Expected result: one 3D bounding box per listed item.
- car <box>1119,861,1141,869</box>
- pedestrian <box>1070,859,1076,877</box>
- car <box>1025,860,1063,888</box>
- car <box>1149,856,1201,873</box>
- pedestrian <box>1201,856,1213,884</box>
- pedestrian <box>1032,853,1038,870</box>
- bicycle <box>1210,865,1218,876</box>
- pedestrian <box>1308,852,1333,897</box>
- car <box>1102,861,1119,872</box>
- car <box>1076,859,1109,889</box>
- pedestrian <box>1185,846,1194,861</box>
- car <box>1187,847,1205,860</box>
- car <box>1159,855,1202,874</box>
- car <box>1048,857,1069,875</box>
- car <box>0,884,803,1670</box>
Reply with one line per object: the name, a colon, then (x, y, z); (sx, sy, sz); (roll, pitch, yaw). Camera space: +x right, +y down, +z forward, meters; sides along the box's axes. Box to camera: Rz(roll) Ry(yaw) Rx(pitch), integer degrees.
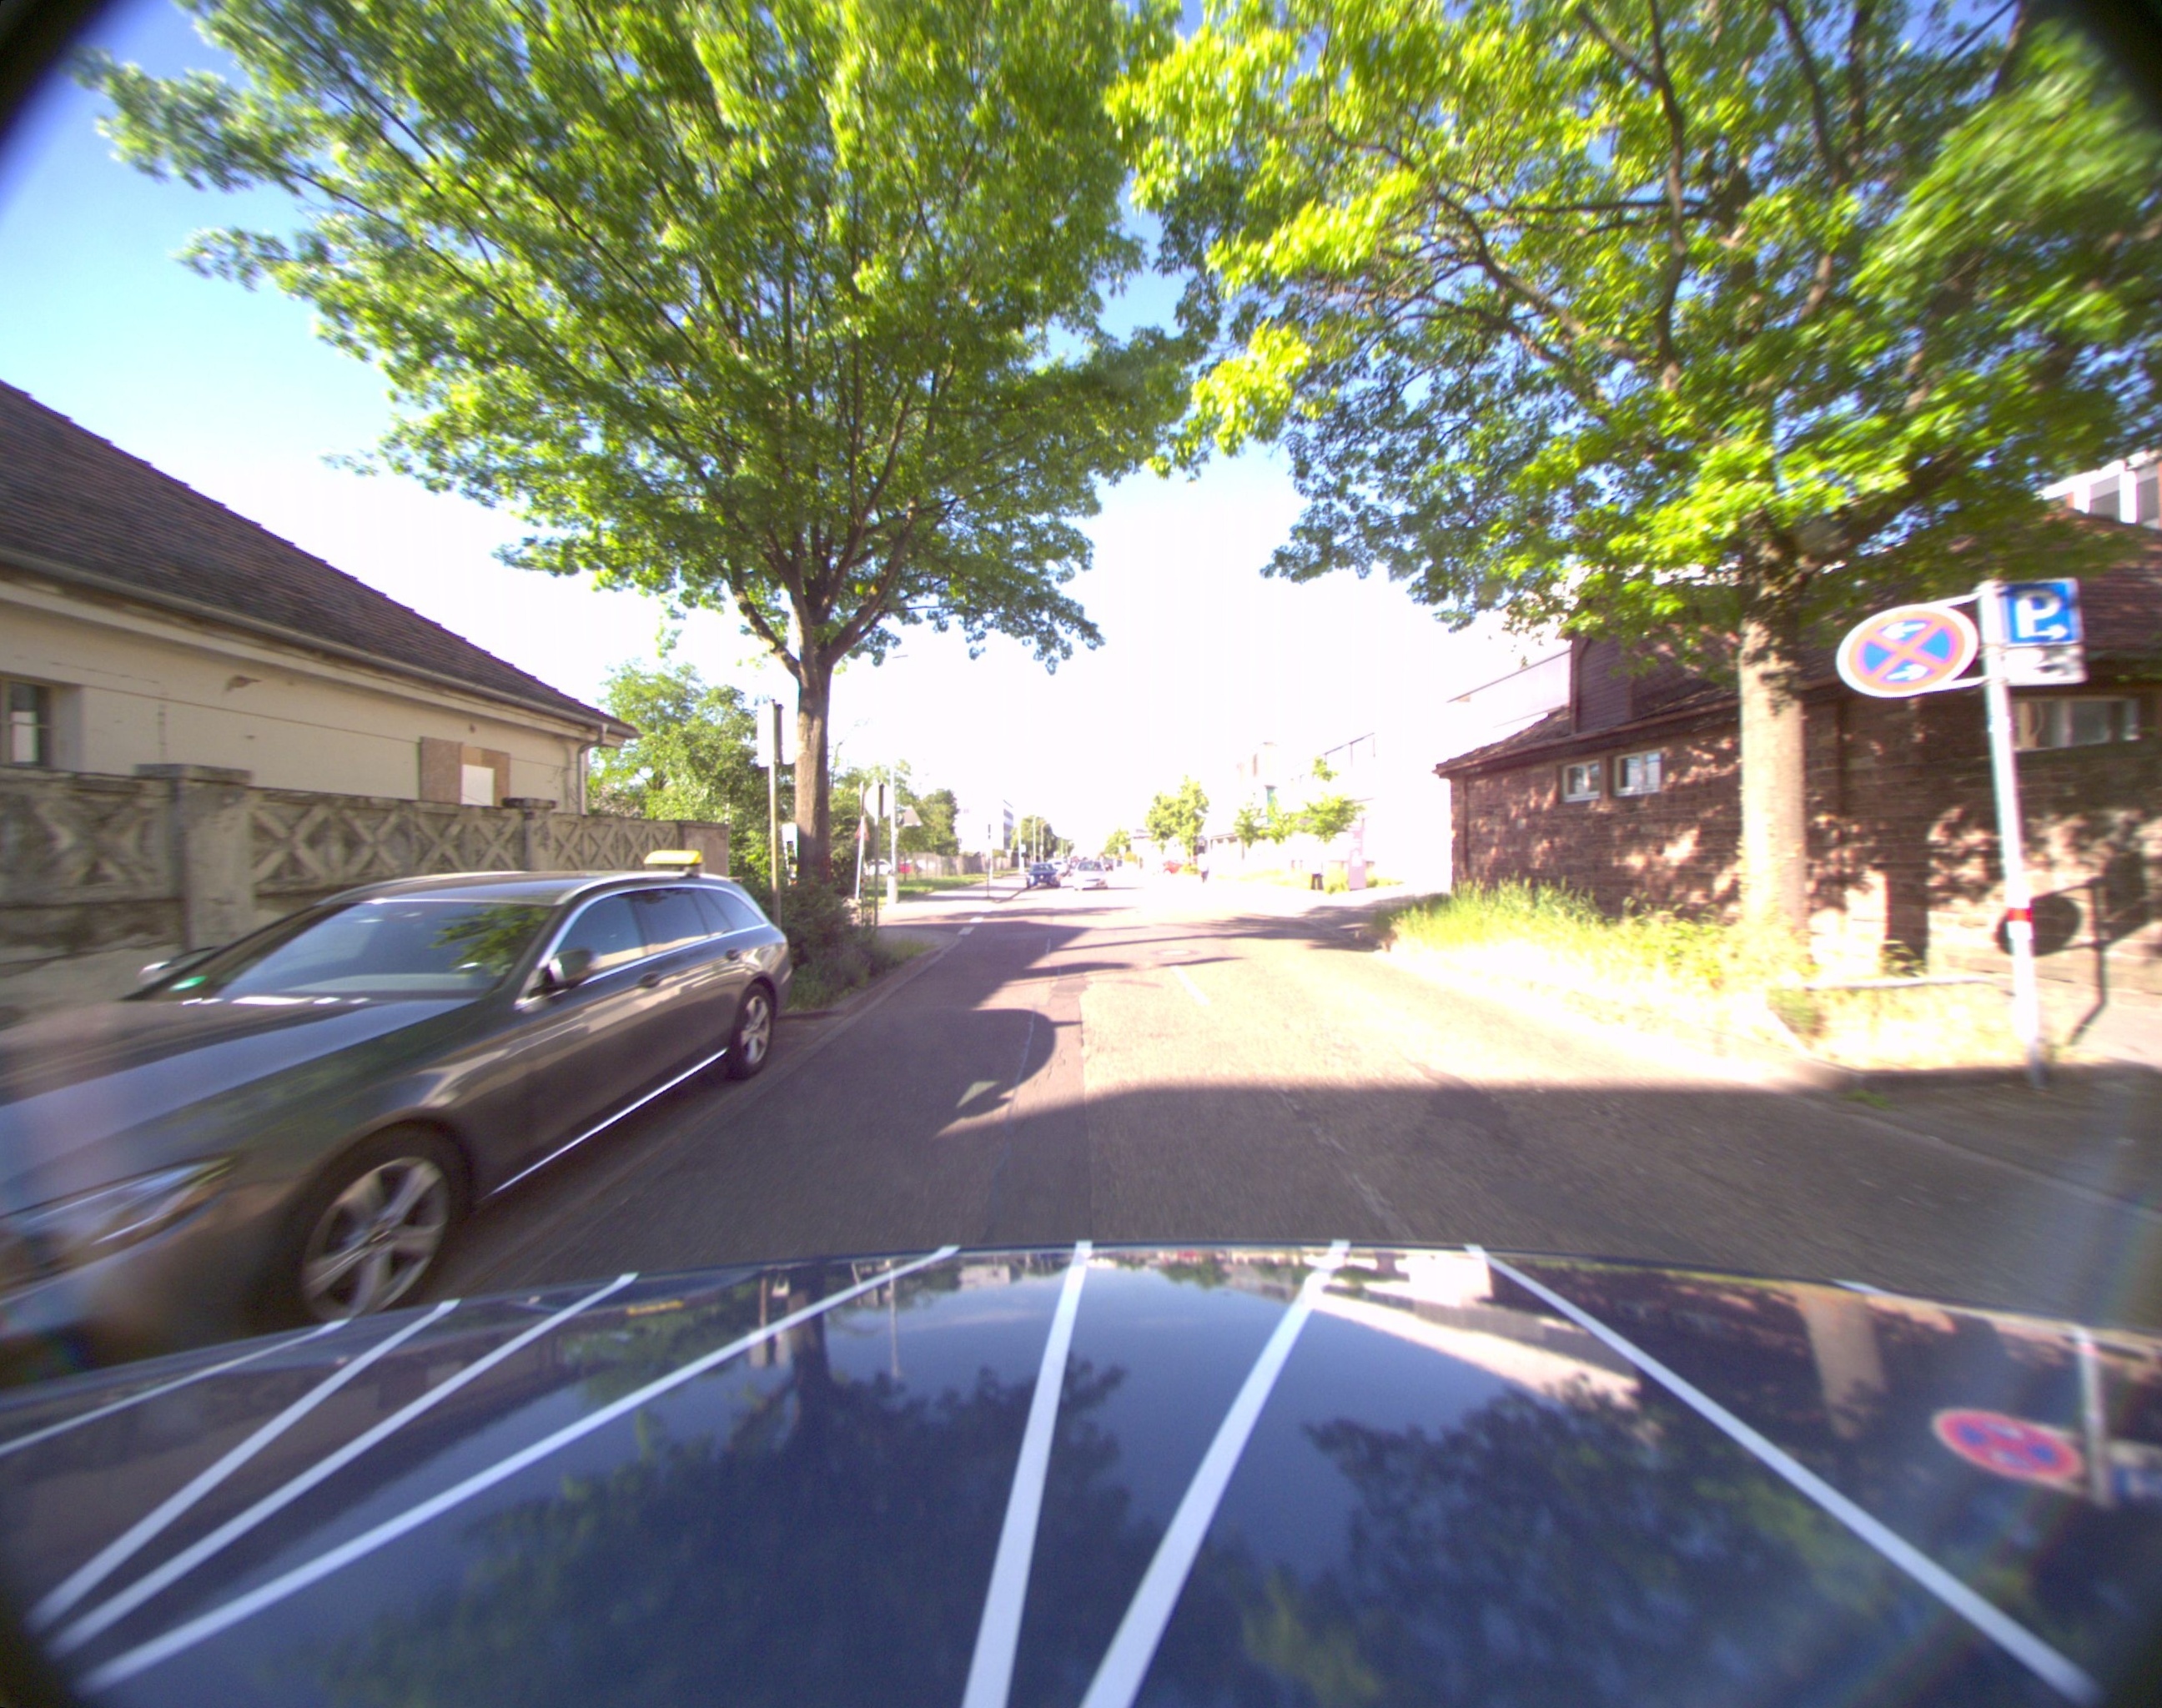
car: (9.498, 2.117, 147.503); (4.142, 1.458, 1.753); (-1, 0, -1)
pedestrian: (-0.753, 1.325, 72.097); (0.521, 1.699, 0.523); (-3, 1, 2)
car: (-2.049, 1.092, 43.181); (1.822, 1.444, 4.214); (-1, 0, 1)
car: (8.417, 0.959, 68.504); (4.522, 1.359, 1.700); (-2, 0, 3)
pedestrian: (6.861, 0.846, 41.369); (0.539, 1.515, 0.607); (-1, 1, 1)
pedestrian: (-4.560, 0.753, 75.191); (0.540, 1.602, 0.683); (-3, 1, 1)
bicycle: (13.372, 1.632, 76.546); (0.536, 1.105, 1.861); (-1, 0, 0)
pedestrian: (8.547, 0.729, 27.174); (0.522, 1.553, 1.096); (-1, 0, -1)
car: (3.976, 1.681, 103.858); (1.767, 1.433, 4.536); (-3, 0, -4)
car: (0.627, 0.986, 38.080); (1.551, 1.389, 3.454); (-1, 0, 2)
pedestrian: (11.494, -0.034, 80.708); (0.774, 1.540, 0.780); (-3, 1, 0)
car: (17.195, -0.078, 113.469); (1.924, 1.880, 4.711); (-1, 0, 0)
car: (8.703, 0.917, 66.665); (3.642, 1.460, 1.615); (-2, 0, 6)
car: (-2.151, 1.098, 71.689); (1.818, 1.579, 4.261); (-2, 0, -2)
car: (-3.165, 1.006, 3.883); (1.707, 1.460, 4.788); (-1, 0, 0)
